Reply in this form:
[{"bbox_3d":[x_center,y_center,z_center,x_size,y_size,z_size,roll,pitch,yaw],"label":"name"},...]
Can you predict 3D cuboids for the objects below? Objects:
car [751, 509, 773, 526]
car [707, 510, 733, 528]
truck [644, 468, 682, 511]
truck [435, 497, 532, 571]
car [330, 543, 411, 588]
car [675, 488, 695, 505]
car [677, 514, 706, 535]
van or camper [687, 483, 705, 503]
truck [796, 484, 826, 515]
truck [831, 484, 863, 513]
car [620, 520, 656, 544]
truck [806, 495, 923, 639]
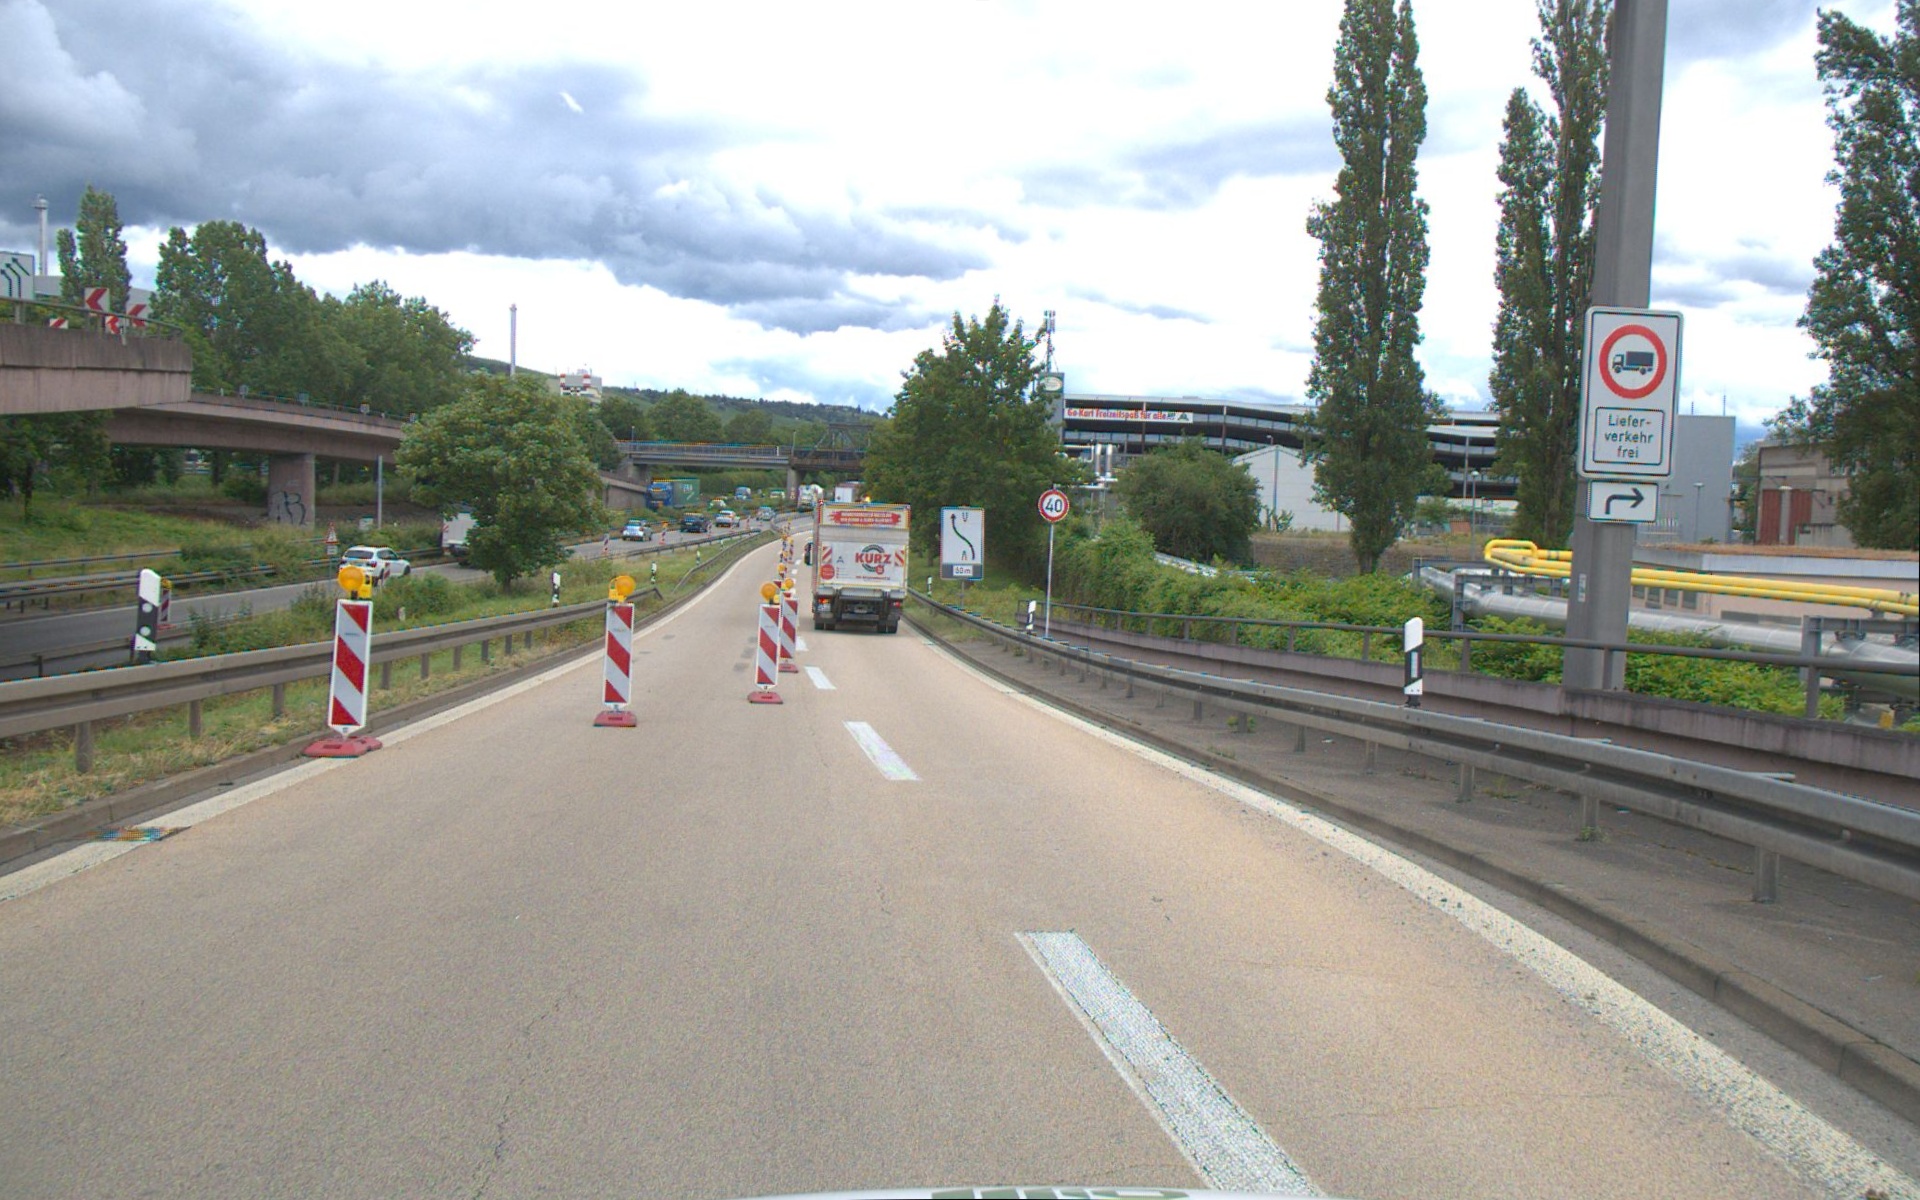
[{"bbox_3d":[-21.692,-9.057,181.500,1.953,1.645,4.001,3,3,-1],"label":"car"},{"bbox_3d":[-23.243,-7.870,160.356,1.953,1.645,4.001,3,3,-1],"label":"car"},{"bbox_3d":[-31.800,-11.799,177.104,2.695,4.344,5.507,3,3,3],"label":"truck"},{"bbox_3d":[-25.742,-3.656,89.738,2.989,3.718,7.398,3,3,0],"label":"truck"},{"bbox_3d":[-26.390,-1.572,74.186,1.952,1.741,4.104,3,3,3],"label":"car"},{"bbox_3d":[-36.080,-13.537,216.829,1.953,2.048,4.001,2,3,-1],"label":"car"},{"bbox_3d":[-23.589,-6.668,145.433,1.953,1.645,4.001,3,3,-1],"label":"car"},{"bbox_3d":[-35.734,-14.440,223.675,1.703,2.682,4.056,2,3,-1],"label":"van or camper"},{"bbox_3d":[-19.590,-13.273,217.880,3.220,3.918,7.666,2,3,-1],"label":"truck"},{"bbox_3d":[-15.304,-13.765,225.067,3.218,3.661,7.671,3,3,4],"label":"truck"},{"bbox_3d":[-24.506,-5.217,126.099,1.953,1.645,4.001,3,3,-1],"label":"car"},{"bbox_3d":[-2.940,-1.126,48.461,2.992,3.735,7.921,2,3,-6],"label":"truck"}]
